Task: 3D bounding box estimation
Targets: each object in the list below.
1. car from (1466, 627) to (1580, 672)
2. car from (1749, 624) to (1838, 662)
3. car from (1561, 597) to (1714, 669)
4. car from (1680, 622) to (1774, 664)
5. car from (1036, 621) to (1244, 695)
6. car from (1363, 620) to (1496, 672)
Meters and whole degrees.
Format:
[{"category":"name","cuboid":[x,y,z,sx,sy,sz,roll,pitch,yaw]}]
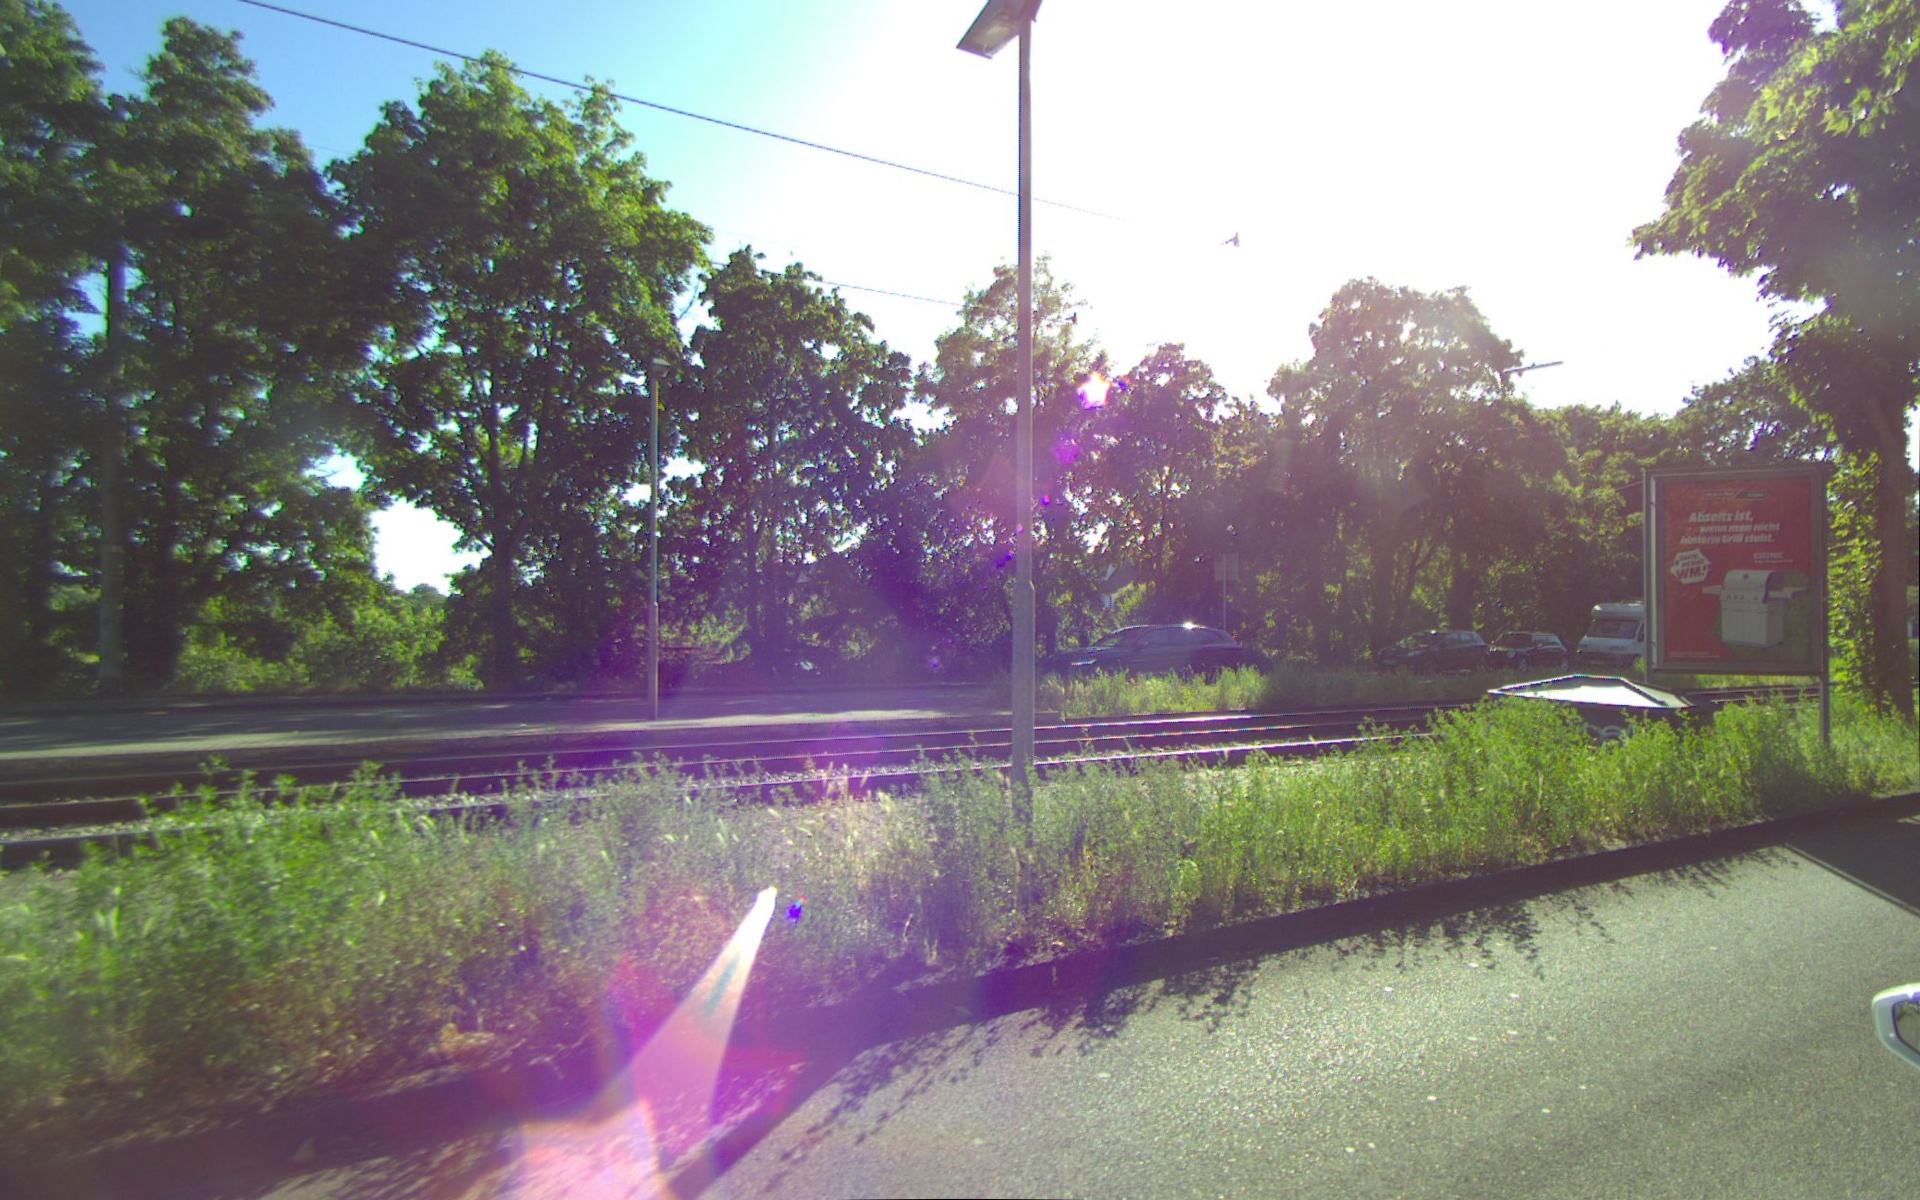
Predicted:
[{"category":"car","cuboid":[19.929,1.725,35.525,3.951,1.454,1.703,2,0,-29]},{"category":"car","cuboid":[37.925,1.957,45.705,4.195,1.605,1.667,2,0,-28]},{"category":"car","cuboid":[26.385,1.241,39.041,6.718,2.615,2.215,1,0,-30]},{"category":"car","cuboid":[32.649,1.820,42.735,4.480,1.644,1.614,2,0,-31]},{"category":"car","cuboid":[4.016,1.282,22.195,4.536,1.514,1.630,2,-4,-29]},{"category":"car","cuboid":[15.486,1.499,33.084,4.228,1.584,1.761,2,0,-28]}]
